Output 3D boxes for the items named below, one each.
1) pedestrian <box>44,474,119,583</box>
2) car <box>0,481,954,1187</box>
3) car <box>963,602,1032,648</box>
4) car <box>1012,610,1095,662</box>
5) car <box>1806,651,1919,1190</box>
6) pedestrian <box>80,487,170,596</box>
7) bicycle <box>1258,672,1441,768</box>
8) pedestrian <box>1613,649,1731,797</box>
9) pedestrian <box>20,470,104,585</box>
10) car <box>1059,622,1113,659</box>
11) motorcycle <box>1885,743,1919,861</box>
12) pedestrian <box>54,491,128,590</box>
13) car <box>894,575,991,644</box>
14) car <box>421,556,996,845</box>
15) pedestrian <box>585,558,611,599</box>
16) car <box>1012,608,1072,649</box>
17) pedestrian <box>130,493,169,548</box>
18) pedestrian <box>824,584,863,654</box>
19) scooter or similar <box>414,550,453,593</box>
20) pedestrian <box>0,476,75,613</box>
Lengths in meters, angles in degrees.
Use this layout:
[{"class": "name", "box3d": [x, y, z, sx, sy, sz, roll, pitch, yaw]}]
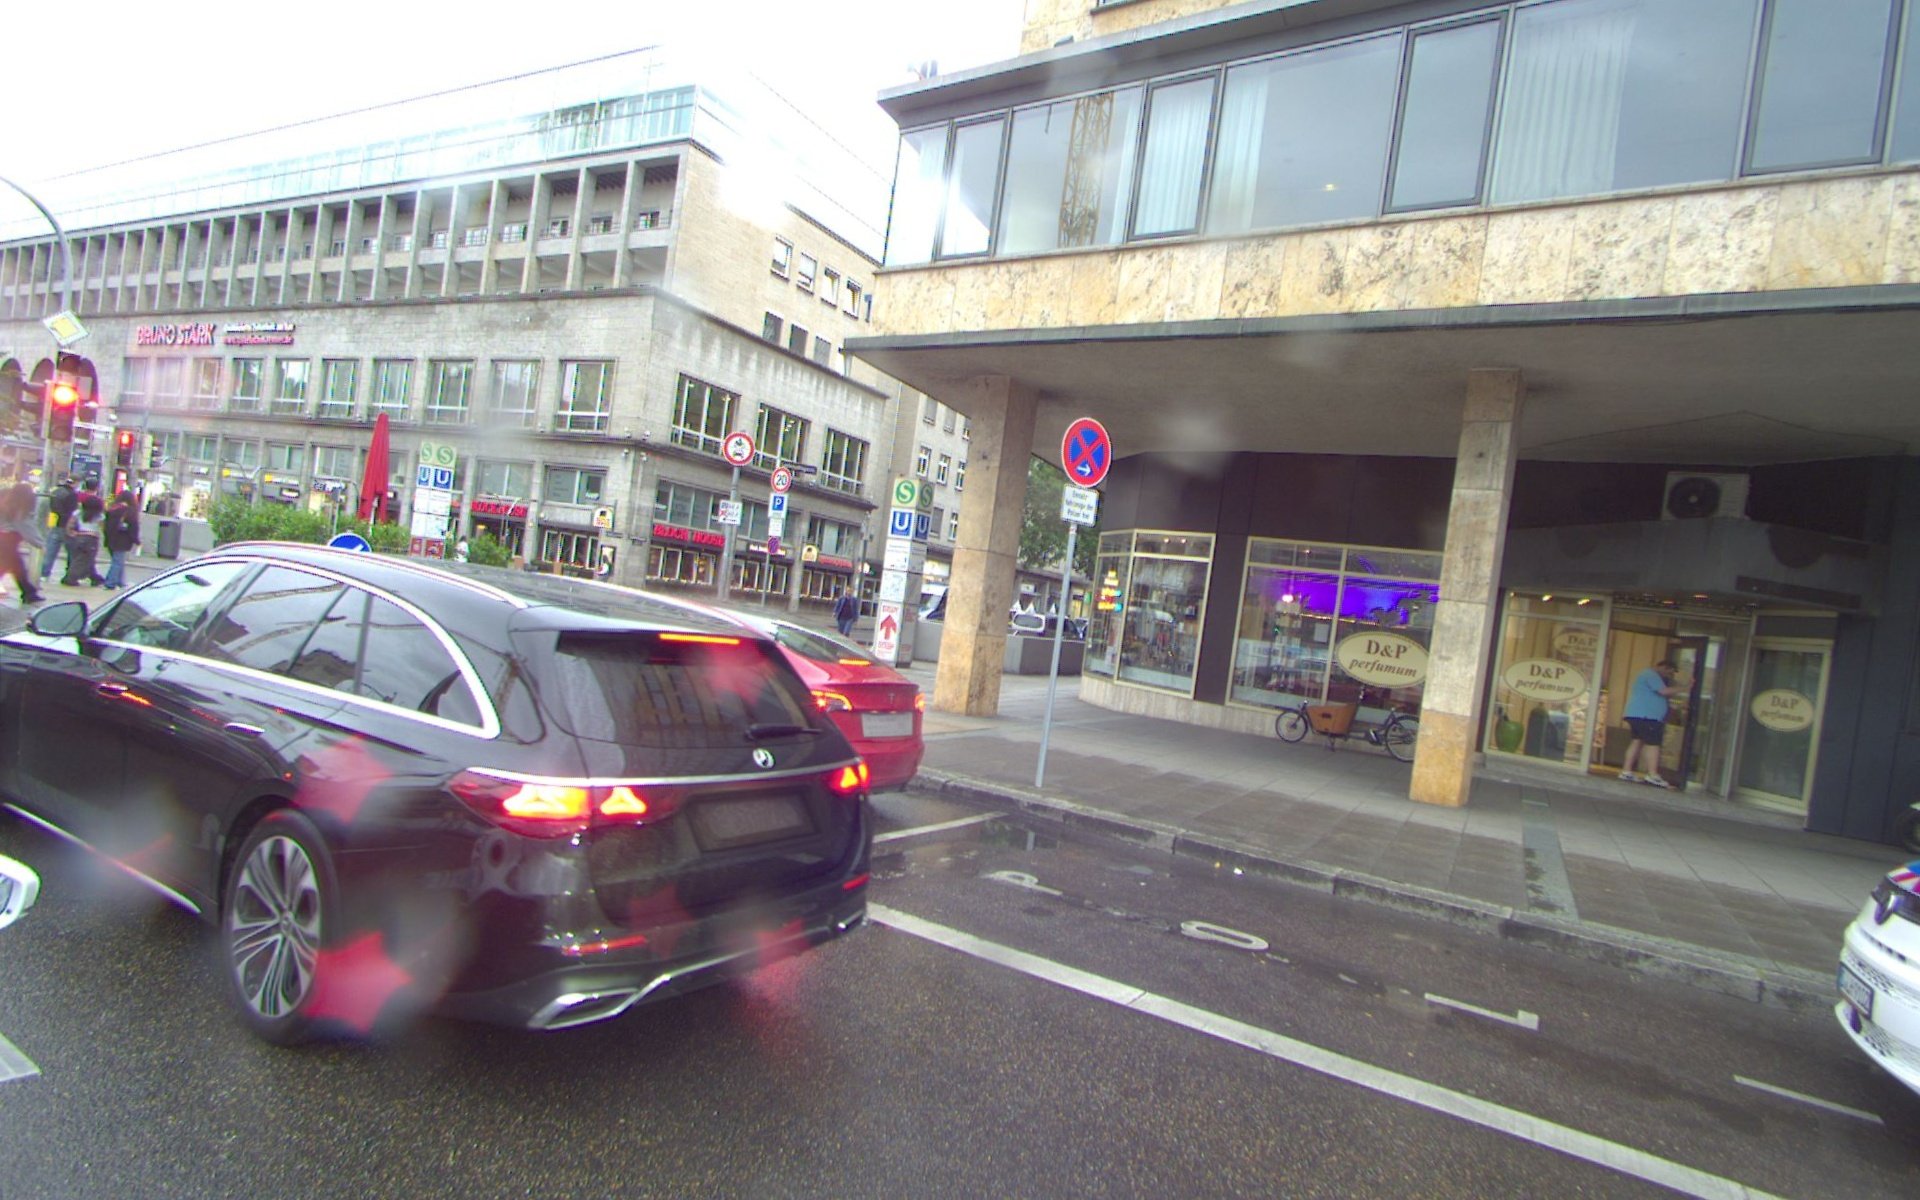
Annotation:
[{"class": "pedestrian", "box3d": [-15.275, -1.228, 17.514, 0.561, 1.772, 0.678, 7, -1, -15]}, {"class": "car", "box3d": [-2.496, 0.478, 4.296, 4.551, 1.519, 1.797, 6, -2, 31]}, {"class": "car", "box3d": [2.231, 1.485, 58.329, 1.966, 2.065, 4.557, 7, -2, 29]}, {"class": "car", "box3d": [4.410, 1.709, 46.722, 1.966, 1.995, 4.638, 7, -1, 29]}, {"class": "car", "box3d": [5.967, 1.421, 3.000, 4.853, 1.942, 1.878, 6, -2, 31]}, {"class": "pedestrian", "box3d": [-13.592, -0.941, 16.395, 0.609, 1.627, 0.801, 7, -1, 28]}, {"class": "bicycle", "box3d": [5.917, 1.805, 15.347, 2.431, 1.058, 0.657, 6, -1, 32]}, {"class": "pedestrian", "box3d": [9.721, 1.665, 13.739, 1.119, 1.811, 0.798, 6, -1, 39]}, {"class": "pedestrian", "box3d": [-14.658, -1.172, 16.433, 0.458, 1.737, 0.757, 7, -1, 28]}, {"class": "car", "box3d": [8.871, 2.837, 70.369, 1.965, 2.065, 4.834, 7, -2, 28]}, {"class": "motorcycle", "box3d": [11.144, 2.278, 10.483, 2.074, 1.232, 0.567, 6, -2, 40]}, {"class": "pedestrian", "box3d": [-14.156, -0.958, 16.397, 0.360, 1.491, 0.680, 7, -1, 27]}, {"class": "car", "box3d": [-0.791, 0.570, 51.578, 1.965, 2.792, 6.186, 7, -2, 28]}, {"class": "car", "box3d": [-2.166, 0.672, 8.281, 4.451, 1.503, 1.878, 6, -2, 31]}, {"class": "pedestrian", "box3d": [-14.415, -0.854, 40.074, 0.748, 1.530, 0.714, 8, -1, -16]}, {"class": "car", "box3d": [5.257, 1.823, 63.860, 1.966, 2.065, 4.483, 7, -2, 29]}, {"class": "pedestrian", "box3d": [-32.389, -3.157, 40.205, 0.754, 2.037, 0.822, 8, -1, -16]}, {"class": "pedestrian", "box3d": [-3.119, 0.509, 26.943, 0.768, 1.777, 0.503, 8, -1, -15]}, {"class": "scooter or similar", "box3d": [-16.364, -0.884, 31.261, 1.000, 1.203, 0.291, 7, -1, 13]}, {"class": "pedestrian", "box3d": [-12.181, -0.725, 12.929, 0.884, 1.645, 0.795, 7, -1, 28]}]
